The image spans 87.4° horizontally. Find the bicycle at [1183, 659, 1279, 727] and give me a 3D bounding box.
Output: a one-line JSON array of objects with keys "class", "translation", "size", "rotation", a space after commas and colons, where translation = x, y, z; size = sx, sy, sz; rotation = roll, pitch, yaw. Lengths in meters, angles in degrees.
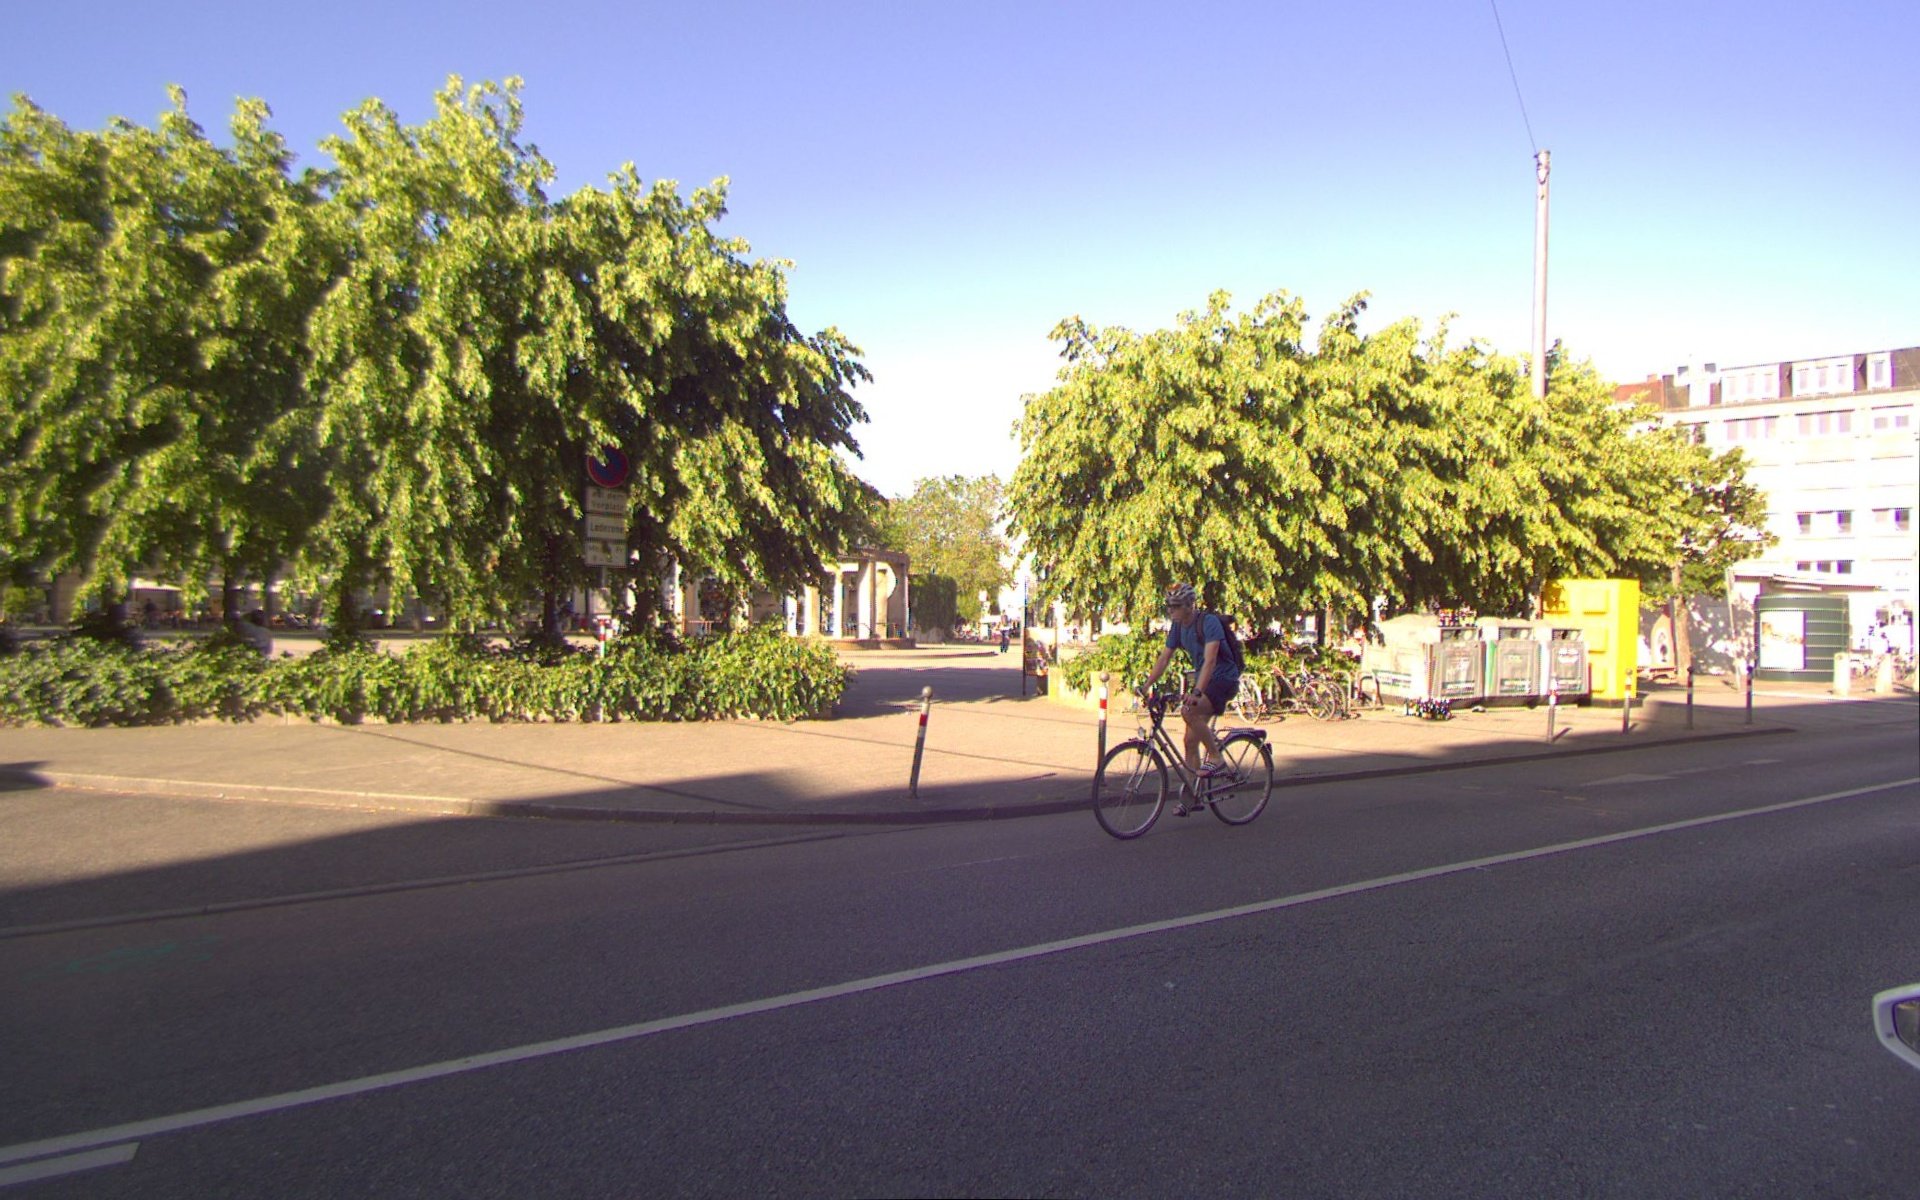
[{"class": "bicycle", "translation": [4.164, 1.412, 15.523], "size": [0.464, 0.897, 1.558], "rotation": [2, 0, -29]}]

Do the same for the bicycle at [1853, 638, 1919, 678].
[{"class": "bicycle", "translation": [33.135, 2.041, 35.059], "size": [0.923, 1.291, 2.764], "rotation": [2, 0, -32]}]

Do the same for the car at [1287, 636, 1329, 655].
[{"class": "car", "translation": [26.004, 3.359, 75.098], "size": [2.707, 1.283, 1.241], "rotation": [2, 0, 31]}]

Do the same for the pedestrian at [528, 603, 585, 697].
[{"class": "pedestrian", "translation": [-6.860, 0.843, 17.088], "size": [0.688, 1.541, 0.676], "rotation": [2, 0, -41]}]

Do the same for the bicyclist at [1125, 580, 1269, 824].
[{"class": "bicyclist", "translation": [1.787, 0.743, 7.614], "size": [0.798, 1.732, 0.699], "rotation": [2, -2, -23]}]

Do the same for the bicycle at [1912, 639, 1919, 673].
[{"class": "bicycle", "translation": [37.238, 2.156, 37.268], "size": [0.932, 1.276, 2.648], "rotation": [2, 0, -32]}]

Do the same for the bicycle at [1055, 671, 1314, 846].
[{"class": "bicycle", "translation": [1.705, 1.131, 7.575], "size": [1.930, 1.177, 0.614], "rotation": [2, -3, -24]}]

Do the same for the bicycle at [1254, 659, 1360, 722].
[{"class": "bicycle", "translation": [5.663, 1.455, 16.476], "size": [0.465, 0.870, 1.654], "rotation": [2, 0, -35]}]

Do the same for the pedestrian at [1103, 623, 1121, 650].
[{"class": "pedestrian", "translation": [8.788, 2.111, 58.171], "size": [0.904, 1.541, 0.936], "rotation": [2, 0, 15]}]

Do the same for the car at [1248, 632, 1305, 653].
[{"class": "car", "translation": [25.063, 3.357, 79.678], "size": [4.061, 1.550, 1.548], "rotation": [1, -1, 32]}]

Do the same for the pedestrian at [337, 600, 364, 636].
[{"class": "pedestrian", "translation": [-26.875, 0.793, 44.308], "size": [0.679, 1.550, 0.741], "rotation": [2, 0, 12]}]

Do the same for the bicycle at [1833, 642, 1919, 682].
[{"class": "bicycle", "translation": [31.213, 2.065, 33.756], "size": [0.932, 1.211, 2.645], "rotation": [2, 0, -32]}]

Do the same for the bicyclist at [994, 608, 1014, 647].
[{"class": "bicyclist", "translation": [1.954, 1.210, 44.887], "size": [0.773, 1.722, 0.895], "rotation": [2, 0, -3]}]

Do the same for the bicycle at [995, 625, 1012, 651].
[{"class": "bicycle", "translation": [1.939, 1.691, 45.061], "size": [0.593, 1.116, 1.989], "rotation": [2, 0, -2]}]

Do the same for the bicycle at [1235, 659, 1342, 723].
[{"class": "bicycle", "translation": [5.264, 1.444, 16.181], "size": [0.465, 0.870, 1.659], "rotation": [2, 0, -35]}]

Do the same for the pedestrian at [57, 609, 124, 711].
[{"class": "pedestrian", "translation": [-12.869, 0.873, 14.882], "size": [0.615, 1.456, 0.647], "rotation": [2, 0, -32]}]

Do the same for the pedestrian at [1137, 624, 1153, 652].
[{"class": "pedestrian", "translation": [10.579, 2.183, 57.439], "size": [0.761, 1.541, 0.838], "rotation": [2, 0, 6]}]

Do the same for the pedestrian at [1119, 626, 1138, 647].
[{"class": "pedestrian", "translation": [10.249, 2.201, 61.003], "size": [0.884, 1.230, 0.866], "rotation": [2, 0, -9]}]

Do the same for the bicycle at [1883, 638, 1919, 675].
[{"class": "bicycle", "translation": [35.254, 2.085, 36.124], "size": [0.932, 1.287, 2.859], "rotation": [2, 0, -32]}]

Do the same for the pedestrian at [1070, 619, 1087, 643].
[{"class": "pedestrian", "translation": [9.557, 2.476, 80.975], "size": [1.274, 1.867, 1.103], "rotation": [2, 0, 13]}]

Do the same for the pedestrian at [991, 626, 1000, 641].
[{"class": "pedestrian", "translation": [3.668, 3.493, 104.444], "size": [0.744, 1.557, 0.673], "rotation": [2, 0, -12]}]

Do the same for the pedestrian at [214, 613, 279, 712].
[{"class": "pedestrian", "translation": [-10.861, 0.936, 15.299], "size": [0.581, 1.456, 0.615], "rotation": [2, 0, 33]}]
